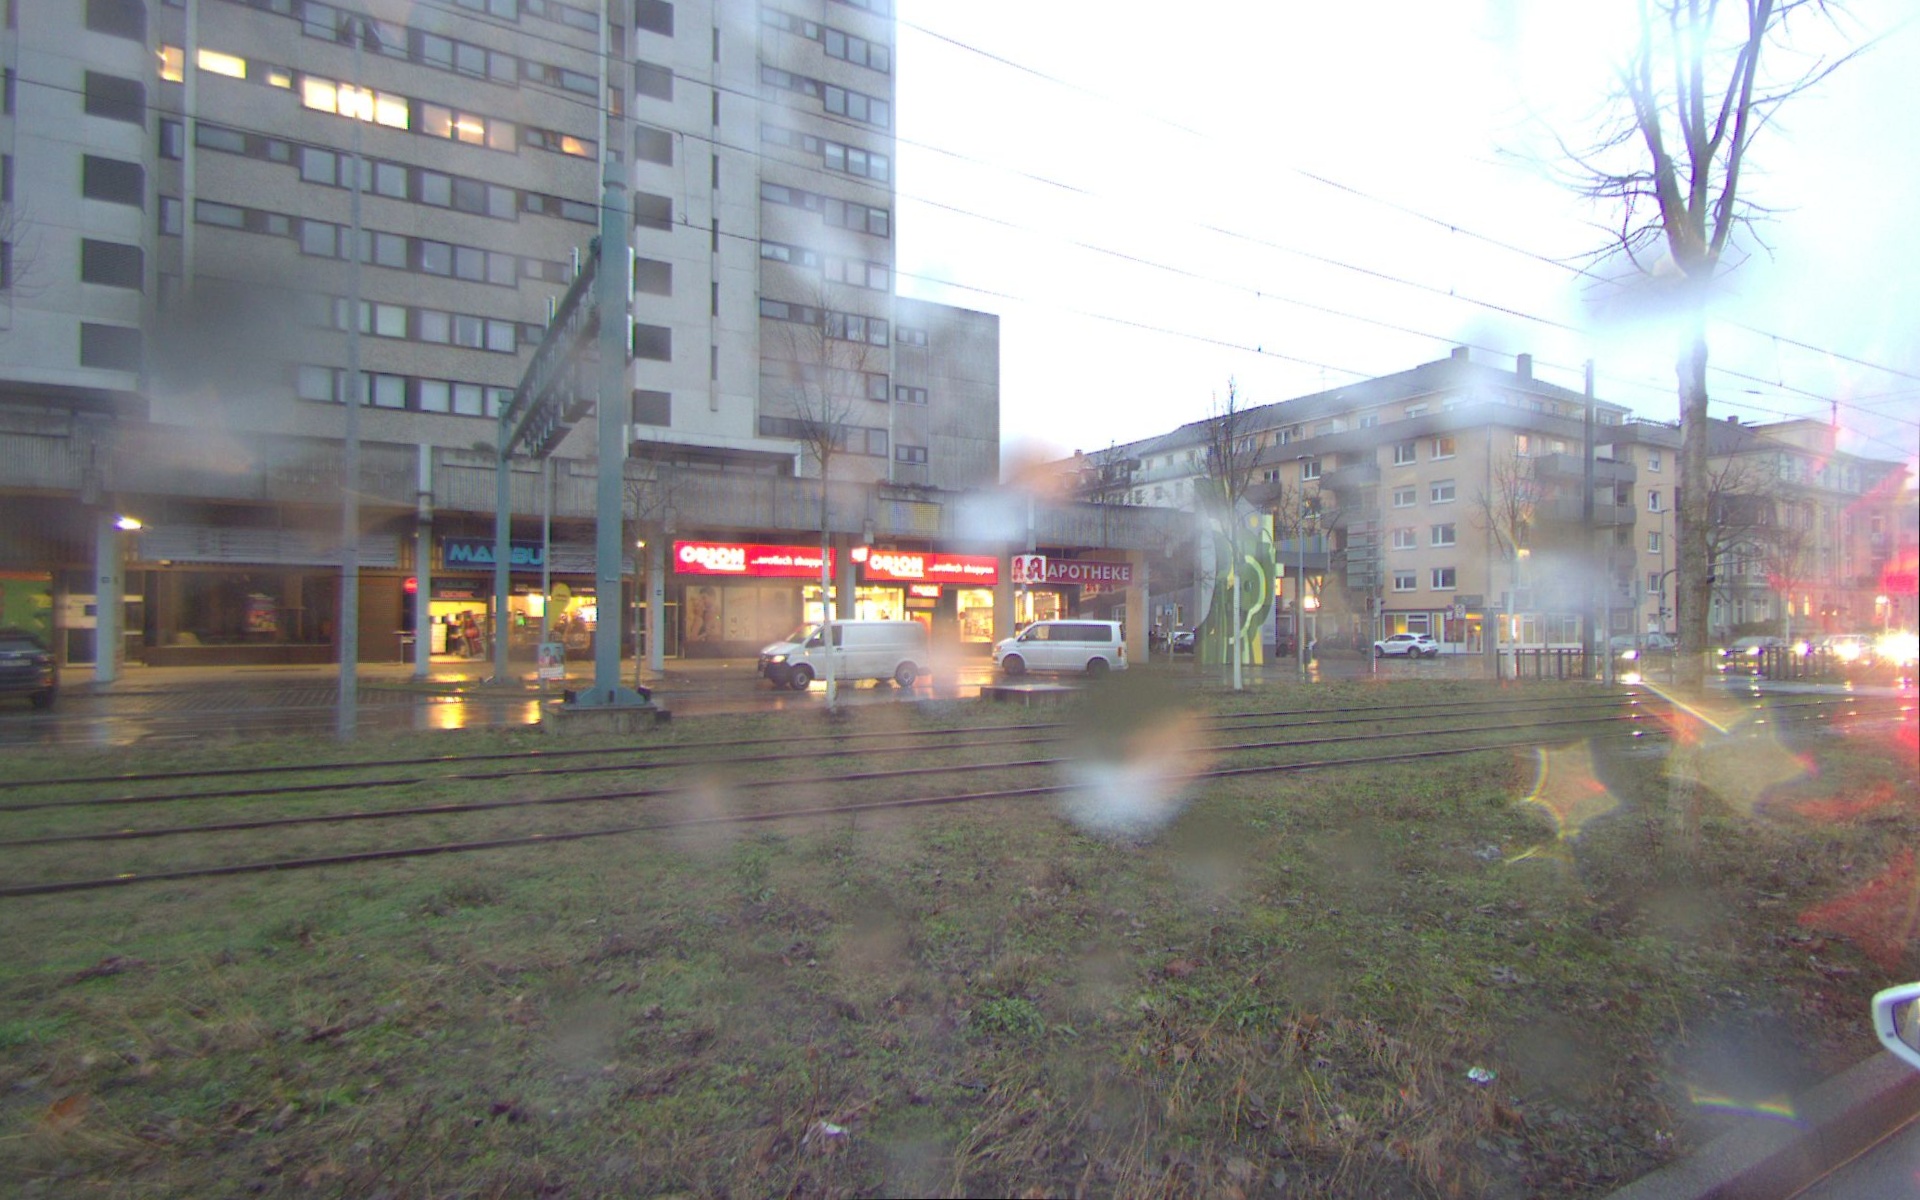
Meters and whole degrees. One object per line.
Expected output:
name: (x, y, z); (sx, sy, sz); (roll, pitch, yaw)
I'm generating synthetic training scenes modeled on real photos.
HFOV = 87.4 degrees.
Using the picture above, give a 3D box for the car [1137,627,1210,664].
car: (12.370, 2.619, 58.170); (3.830, 2.040, 1.884); (2, 0, -31)

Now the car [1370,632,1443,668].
car: (27.814, 3.079, 62.651); (1.825, 1.968, 3.720); (1, 0, -37)

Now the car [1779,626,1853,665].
car: (48.598, 2.556, 56.999); (3.953, 2.040, 1.984); (2, 0, -31)

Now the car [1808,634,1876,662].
car: (42.988, 2.305, 48.945); (4.108, 1.294, 1.679); (2, -2, -36)

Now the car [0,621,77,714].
car: (-20.794, 1.367, 21.184); (4.067, 1.715, 1.982); (2, 0, 28)

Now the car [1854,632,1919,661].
car: (56.187, 2.834, 60.818); (3.952, 1.623, 1.941); (2, 0, -30)

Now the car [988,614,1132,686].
car: (3.555, 1.701, 35.463); (4.734, 2.274, 2.001); (2, 0, 15)

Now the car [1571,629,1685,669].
car: (24.963, 1.804, 37.488); (4.265, 1.350, 1.850); (2, 0, -30)

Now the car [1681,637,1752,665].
car: (36.928, 2.473, 49.005); (3.498, 1.294, 1.681); (1, -1, -33)

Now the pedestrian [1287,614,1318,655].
pedestrian: (17.552, 1.765, 51.419); (1.253, 2.040, 1.004); (-1, -1, 37)

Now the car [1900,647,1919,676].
car: (54.266, 3.422, 55.857); (3.953, 1.598, 1.858); (1, -1, -30)

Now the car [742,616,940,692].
car: (-3.524, 1.578, 29.973); (5.490, 2.073, 1.987); (2, 0, -26)

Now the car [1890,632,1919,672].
car: (40.768, 2.182, 41.829); (3.954, 1.623, 1.983); (2, 0, -31)
